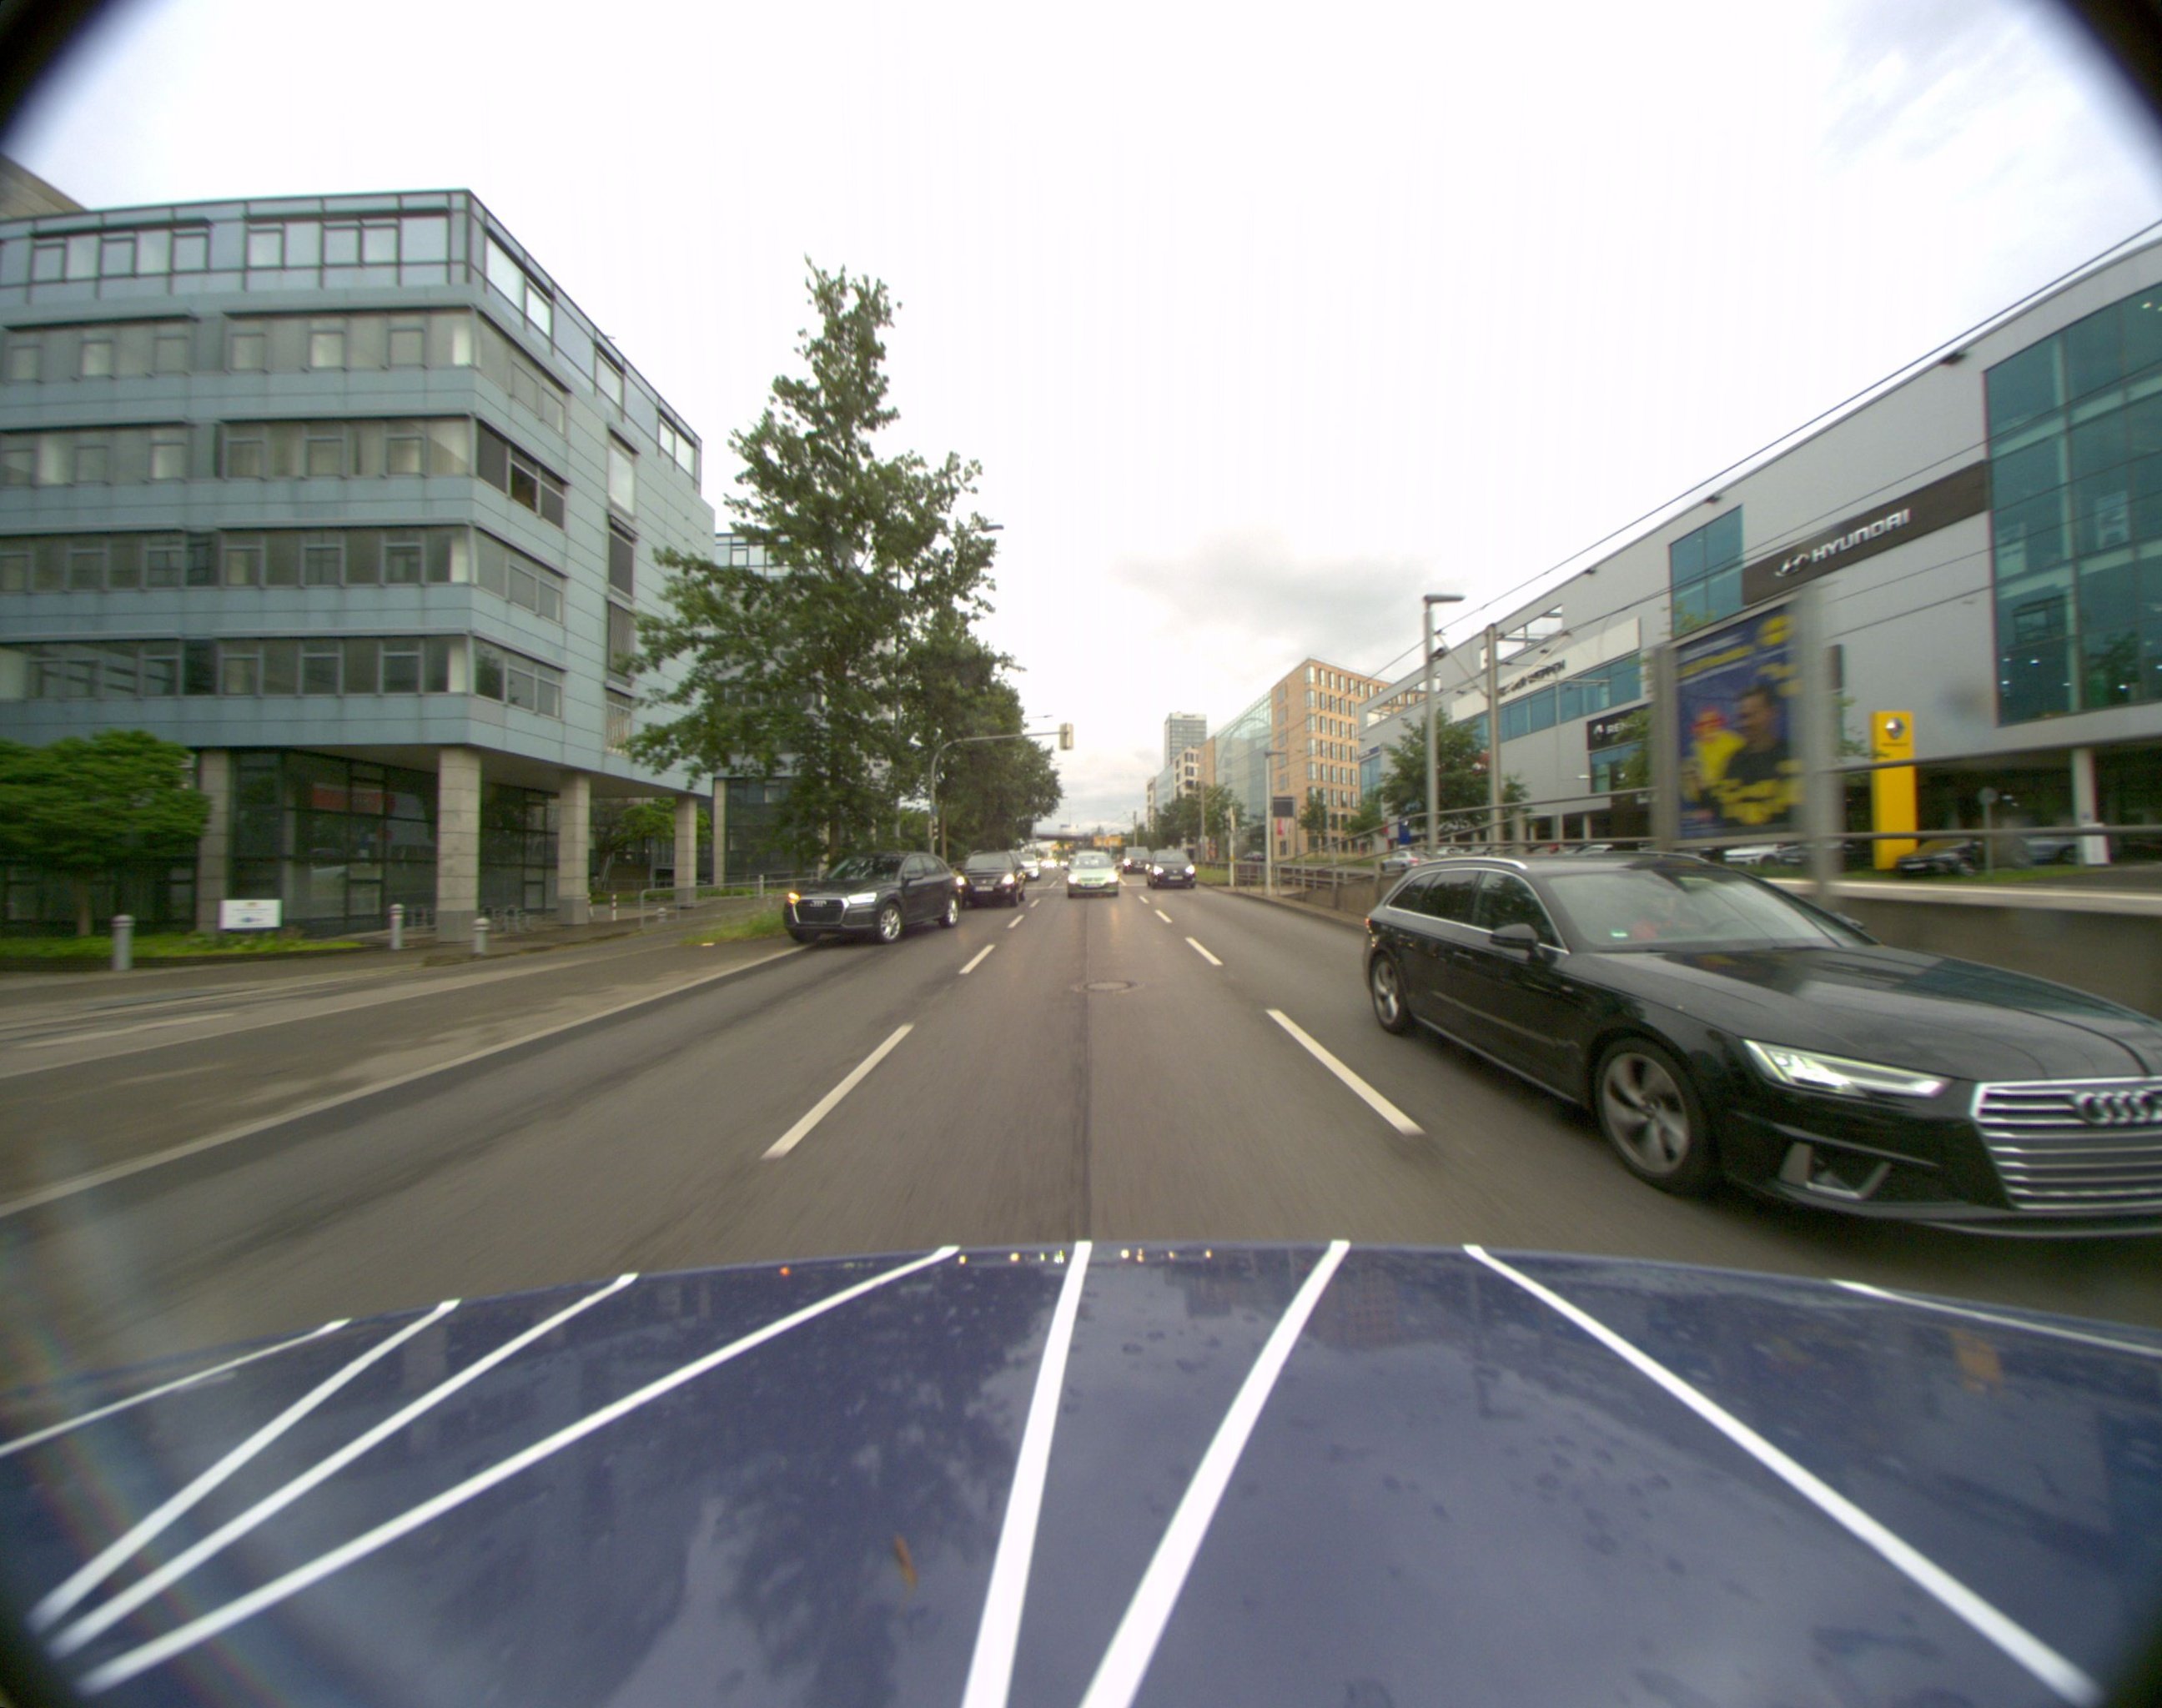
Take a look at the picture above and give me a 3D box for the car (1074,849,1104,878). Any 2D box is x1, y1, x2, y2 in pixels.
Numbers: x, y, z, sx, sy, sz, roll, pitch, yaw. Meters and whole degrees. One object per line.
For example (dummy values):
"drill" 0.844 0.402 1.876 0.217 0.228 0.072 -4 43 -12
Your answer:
"car" 0.462 0.497 42.879 1.598 1.533 3.707 -1 0 1

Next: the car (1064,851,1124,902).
"car" 0.426 0.697 25.554 1.803 1.533 4.374 -1 0 1

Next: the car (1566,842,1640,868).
"car" 32.805 0.049 47.756 3.845 1.482 1.821 -2 0 -18

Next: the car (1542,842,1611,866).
"car" 32.819 0.011 50.350 3.845 1.482 1.821 -2 0 -18

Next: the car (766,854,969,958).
"car" -3.883 0.871 14.745 1.814 1.660 4.375 -1 0 14

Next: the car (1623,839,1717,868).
"car" 32.683 -0.045 42.210 3.999 1.482 1.823 -2 0 -6

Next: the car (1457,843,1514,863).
"car" 32.462 -0.089 60.992 3.845 1.482 1.821 -2 0 -18

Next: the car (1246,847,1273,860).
"car" 20.654 -0.083 88.331 1.998 1.428 4.873 -2 1 1

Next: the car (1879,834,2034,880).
"car" 32.541 0.106 28.290 3.999 1.499 1.896 -2 1 -8

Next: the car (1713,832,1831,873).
"car" 32.673 -0.068 36.003 3.999 1.652 1.921 -4 1 -6

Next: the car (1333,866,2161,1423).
"car" 3.189 0.851 4.525 1.794 1.426 4.828 -1 0 1

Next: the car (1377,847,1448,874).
"car" 19.268 0.325 44.418 1.998 1.381 4.873 -2 1 1

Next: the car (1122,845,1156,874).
"car" 3.534 0.297 47.035 1.781 1.670 4.130 -1 0 1

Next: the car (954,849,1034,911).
"car" -2.544 0.726 23.249 1.816 1.660 4.548 -1 0 1

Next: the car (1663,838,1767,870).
"car" 32.435 0.001 38.951 3.999 1.482 1.823 -2 0 -6

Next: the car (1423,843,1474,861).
"car" 32.133 -0.145 66.433 3.845 1.482 1.821 -2 0 -18

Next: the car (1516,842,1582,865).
"car" 32.530 -0.014 52.811 3.845 1.482 1.821 -2 0 -18

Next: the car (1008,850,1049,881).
"car" -2.845 0.600 41.639 1.873 1.533 4.106 -1 0 1

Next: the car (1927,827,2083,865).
"car" 37.841 -0.304 31.236 1.775 1.460 3.989 -2 0 -38

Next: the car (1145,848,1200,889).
"car" 3.587 0.545 30.415 1.798 1.493 4.000 -1 0 1

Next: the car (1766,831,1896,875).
"car" 32.849 -0.038 33.334 3.999 1.652 1.921 -3 0 -6
